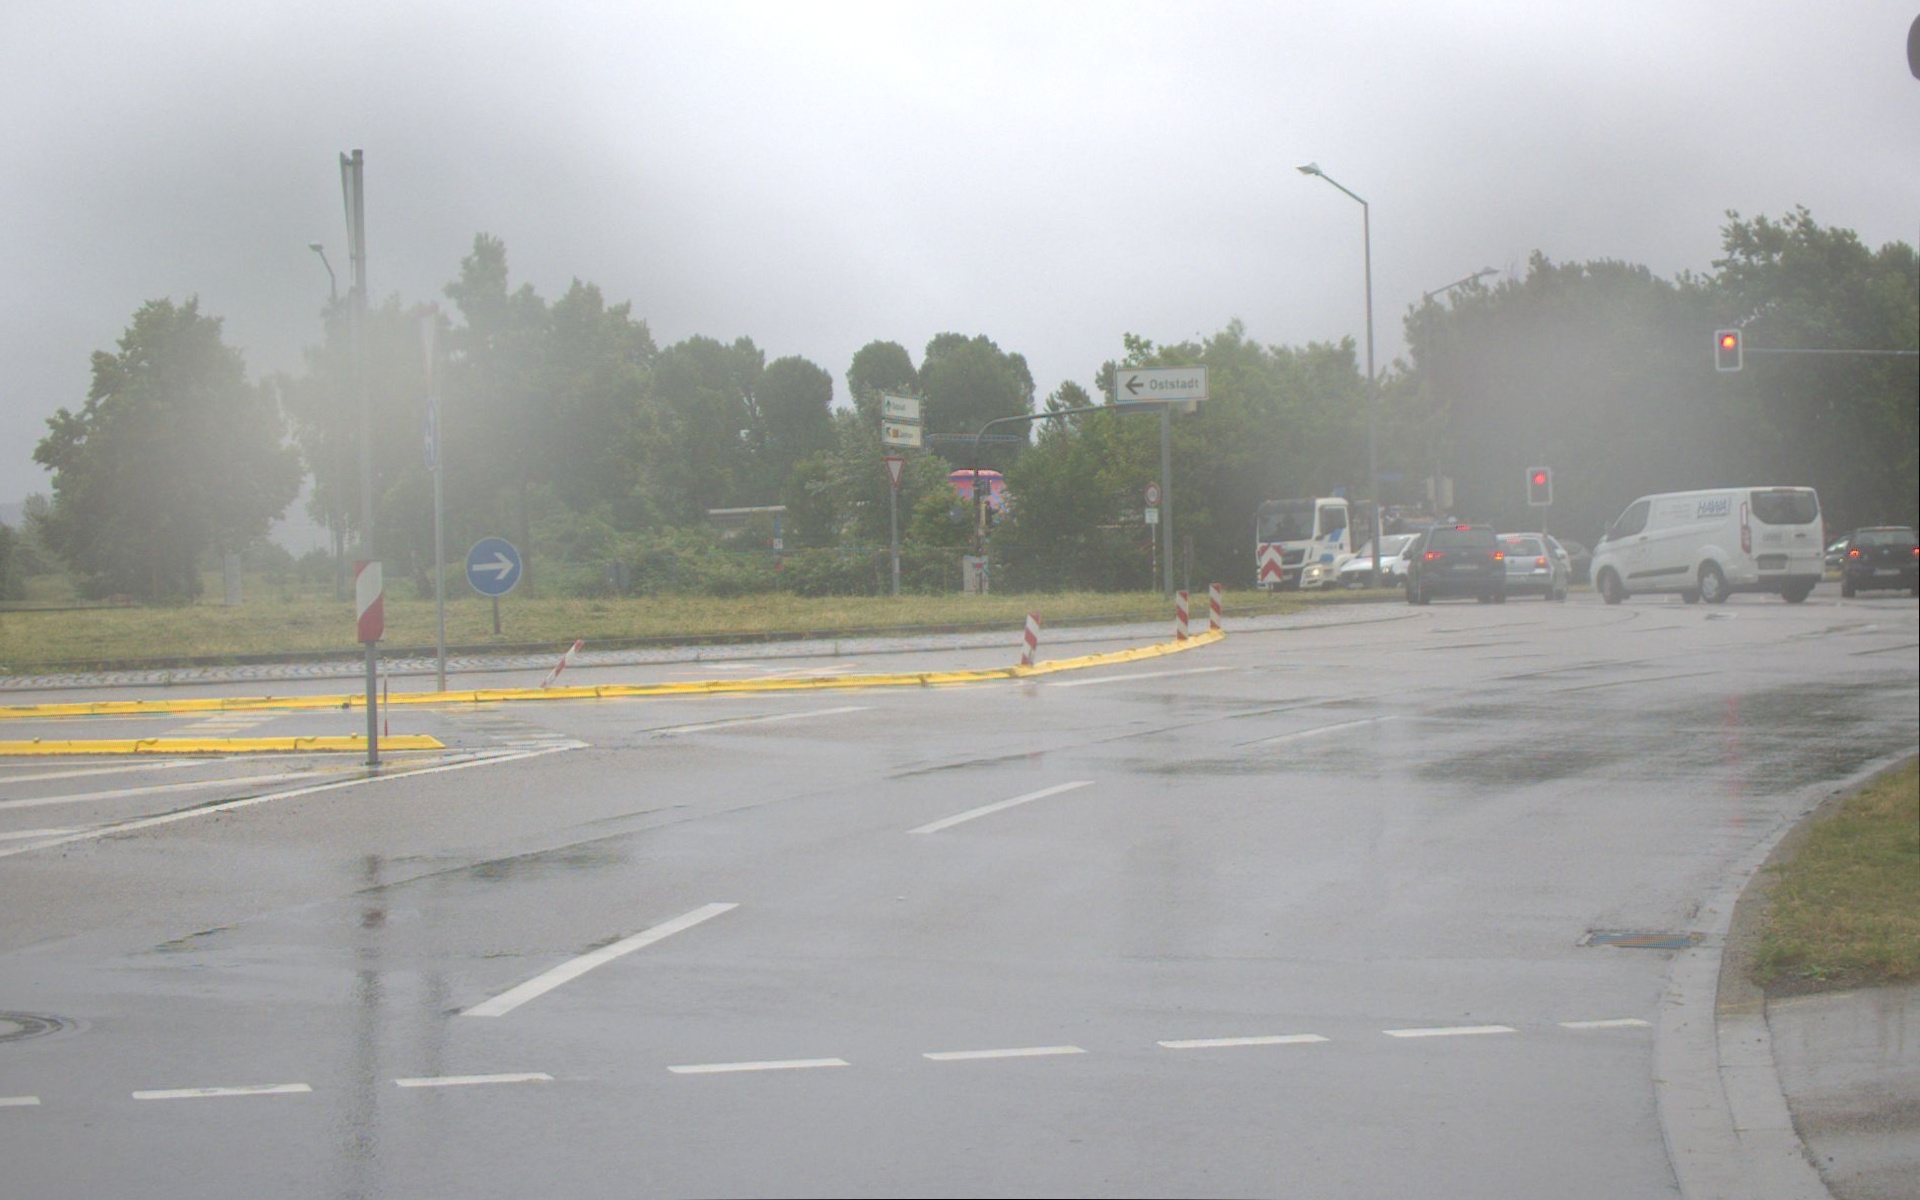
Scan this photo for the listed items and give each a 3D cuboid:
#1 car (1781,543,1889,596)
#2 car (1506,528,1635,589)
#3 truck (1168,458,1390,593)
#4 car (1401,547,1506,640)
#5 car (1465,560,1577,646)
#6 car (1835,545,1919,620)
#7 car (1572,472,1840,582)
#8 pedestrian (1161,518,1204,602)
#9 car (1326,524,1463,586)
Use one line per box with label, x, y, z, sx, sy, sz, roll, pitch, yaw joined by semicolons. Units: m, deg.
car;28.699;-1.004;112.691;1.800;1.656;3.990;1;0;41
car;17.378;-1.171;97.773;1.800;1.656;3.990;1;0;41
truck;6.985;-1.543;74.103;2.464;2.677;8.049;1;0;23
car;10.290;-0.130;71.412;1.994;1.845;4.774;1;0;10
car;12.631;0.062;77.154;1.995;1.845;4.772;1;0;15
car;19.015;-0.379;71.052;1.619;1.449;3.986;-1;1;12
car;13.110;-1.260;60.710;1.993;1.845;4.776;1;0;-28
pedestrian;3.517;-0.633;54.310;0.453;1.300;0.485;-1;1;38
car;12.169;-1.253;96.219;1.800;1.656;4.124;1;0;41
